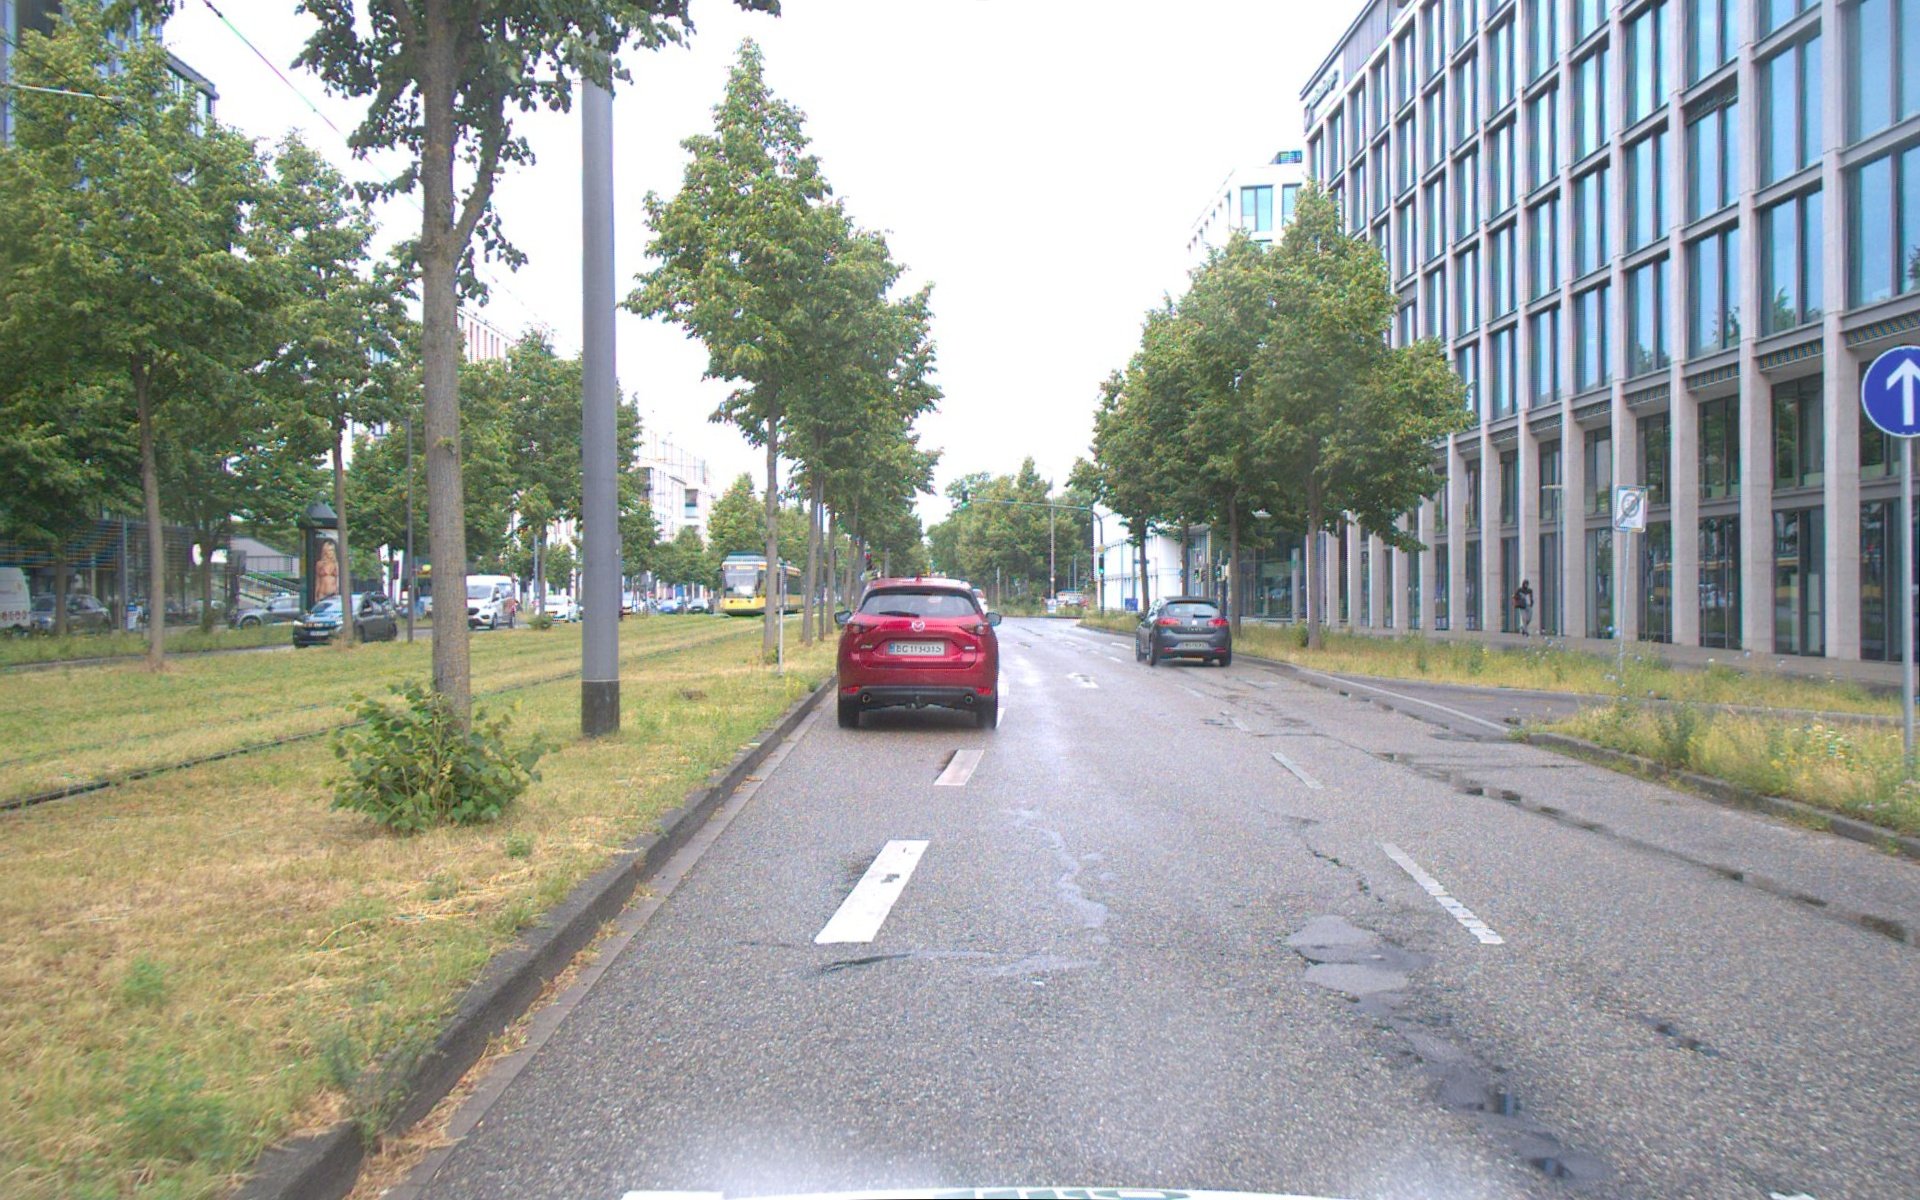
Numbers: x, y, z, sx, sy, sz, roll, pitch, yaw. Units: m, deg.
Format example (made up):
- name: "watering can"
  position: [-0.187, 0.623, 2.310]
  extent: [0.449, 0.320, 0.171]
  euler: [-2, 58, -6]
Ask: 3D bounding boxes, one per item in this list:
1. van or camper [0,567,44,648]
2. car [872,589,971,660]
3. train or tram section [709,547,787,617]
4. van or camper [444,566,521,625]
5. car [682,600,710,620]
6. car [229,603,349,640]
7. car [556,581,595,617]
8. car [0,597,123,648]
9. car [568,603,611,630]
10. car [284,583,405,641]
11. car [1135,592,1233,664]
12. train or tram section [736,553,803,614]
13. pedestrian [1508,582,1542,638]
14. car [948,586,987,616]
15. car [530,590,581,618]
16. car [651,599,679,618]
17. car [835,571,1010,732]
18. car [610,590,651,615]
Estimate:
- name: "van or camper"
  position: [-28.935, 0.227, 47.269]
  extent: [2.384, 2.356, 5.848]
  euler: [0, 0, -1]
- name: "car"
  position: [-0.810, 0.514, 36.926]
  extent: [1.918, 1.490, 3.783]
  euler: [0, 0, 3]
- name: "train or tram section"
  position: [-12.016, -0.993, 95.030]
  extent: [3.065, 3.723, 13.402]
  euler: [0, 0, -1]
- name: "van or camper"
  position: [-20.848, -0.208, 72.479]
  extent: [1.870, 2.453, 5.401]
  euler: [0, 0, -1]
- name: "car"
  position: [-22.432, 0.876, 140.641]
  extent: [1.954, 1.646, 3.998]
  euler: [0, 0, -3]
- name: "car"
  position: [-29.135, 0.900, 71.857]
  extent: [4.619, 1.548, 1.979]
  euler: [0, 0, -32]
- name: "car"
  position: [-28.624, -0.078, 123.353]
  extent: [2.212, 2.606, 4.650]
  euler: [0, 0, -6]
- name: "car"
  position: [-29.022, 0.687, 53.245]
  extent: [1.954, 1.548, 4.604]
  euler: [0, 0, -3]
- name: "car"
  position: [-23.454, 1.022, 104.914]
  extent: [1.847, 1.484, 3.999]
  euler: [4, 0, -2]
- name: "car"
  position: [-17.434, 0.320, 47.090]
  extent: [1.825, 1.551, 4.478]
  euler: [0, 0, -1]
- name: "car"
  position: [4.822, 0.573, 36.053]
  extent: [1.707, 1.490, 3.782]
  euler: [0, 0, 1]
- name: "train or tram section"
  position: [-12.418, -1.051, 109.300]
  extent: [3.065, 3.723, 15.059]
  euler: [0, 0, -1]
- name: "pedestrian"
  position: [17.982, 0.325, 52.653]
  extent: [0.702, 1.744, 0.861]
  euler: [-2, 0, -2]
- name: "car"
  position: [0.407, 0.054, 86.558]
  extent: [1.927, 1.462, 4.553]
  euler: [1, 0, 1]
- name: "car"
  position: [-21.837, 0.204, 89.325]
  extent: [1.846, 1.485, 3.999]
  euler: [0, 0, -1]
- name: "car"
  position: [-26.098, 0.772, 146.651]
  extent: [1.954, 1.646, 3.998]
  euler: [0, 0, -3]
- name: "car"
  position: [-0.460, 0.539, 19.612]
  extent: [1.860, 1.706, 3.998]
  euler: [0, 0, -2]
- name: "car"
  position: [-18.953, 0.131, 95.269]
  extent: [1.675, 1.429, 3.999]
  euler: [0, 0, -1]
